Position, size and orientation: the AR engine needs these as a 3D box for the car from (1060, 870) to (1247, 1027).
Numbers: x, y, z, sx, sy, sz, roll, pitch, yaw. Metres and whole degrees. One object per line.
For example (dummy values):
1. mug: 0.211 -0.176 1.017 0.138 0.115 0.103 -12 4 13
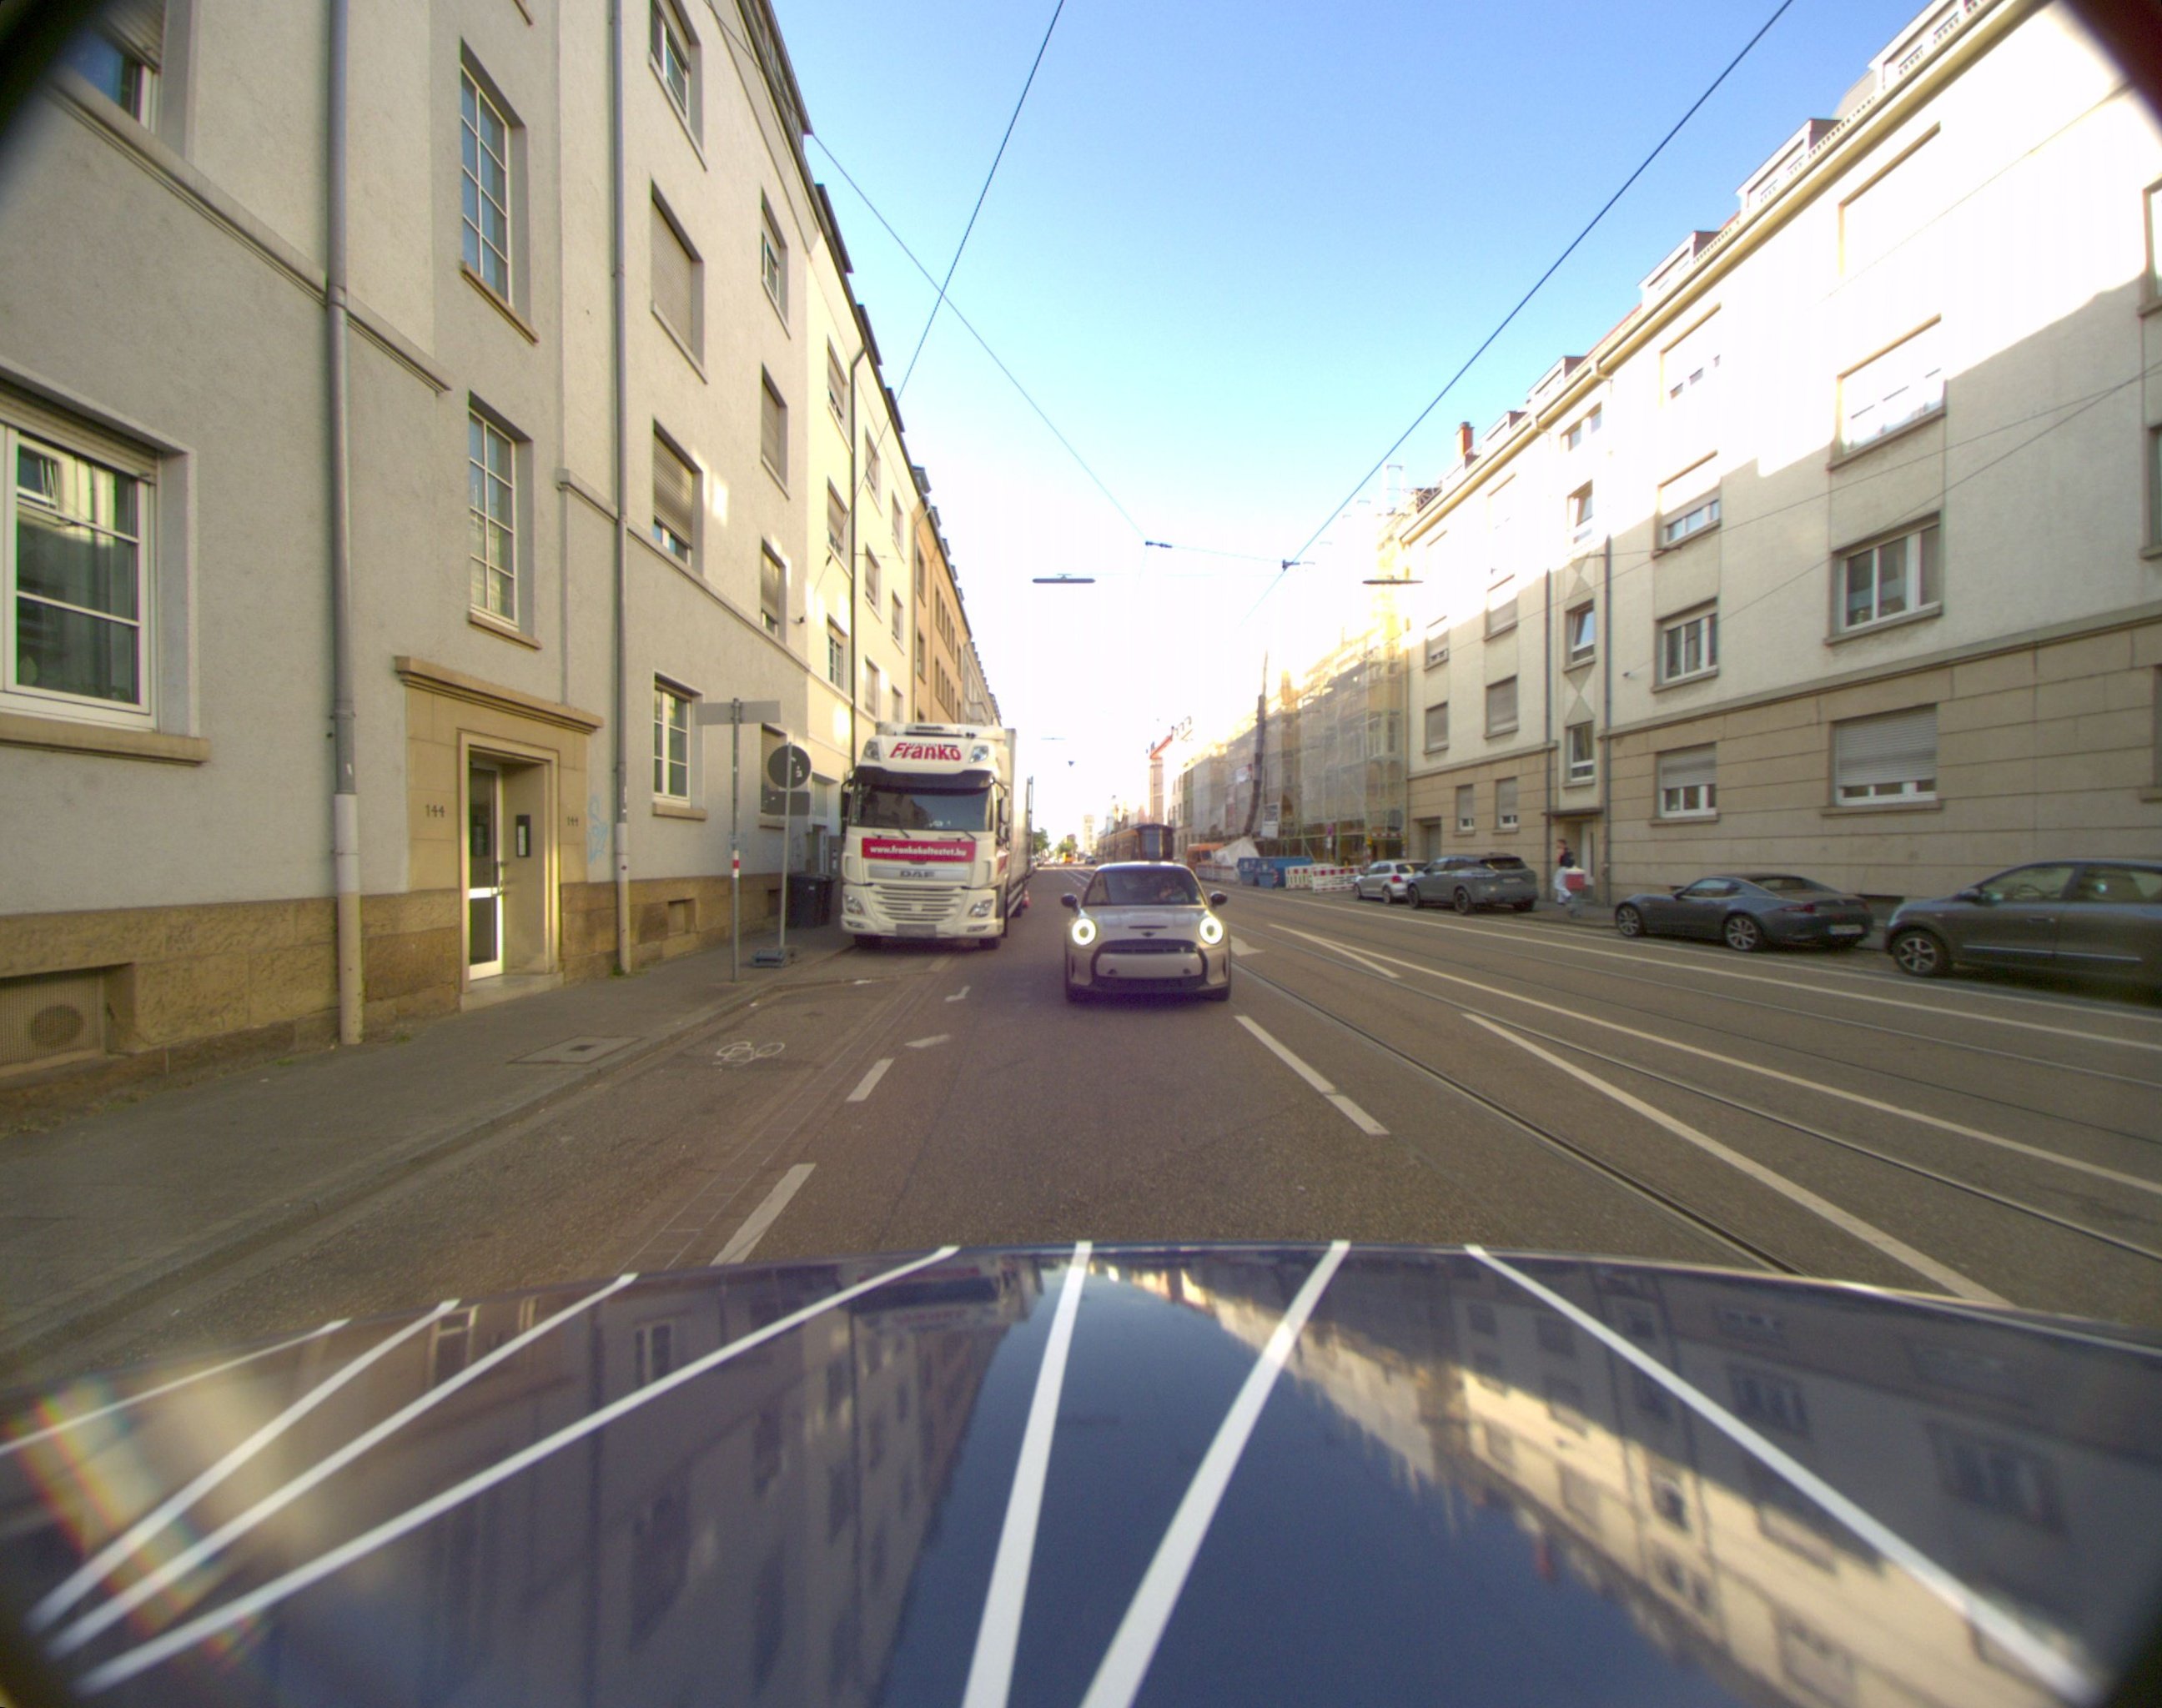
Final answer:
1. car: 0.668 0.919 8.986 1.727 1.416 3.817 0 -1 0

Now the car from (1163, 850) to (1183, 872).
1. car: 8.548 0.631 71.091 1.658 1.911 3.766 -2 1 5

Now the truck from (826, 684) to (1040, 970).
1. truck: -2.500 -0.498 17.114 2.700 4.214 11.773 0 1 -1

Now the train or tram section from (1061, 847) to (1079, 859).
1. train or tram section: -3.565 -0.308 237.179 3.881 3.616 14.401 -2 1 -7

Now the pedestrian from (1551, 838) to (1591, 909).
1. pedestrian: 13.234 0.523 20.533 0.519 1.861 0.762 -2 1 -2

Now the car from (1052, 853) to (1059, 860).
1. car: -7.987 0.725 238.281 1.999 1.871 4.269 -2 1 -4

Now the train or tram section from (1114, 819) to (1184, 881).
1. train or tram section: 4.175 -0.304 50.103 2.867 3.542 13.038 0 1 -3

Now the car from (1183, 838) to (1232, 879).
1. car: 8.801 0.259 53.359 2.215 2.681 5.871 -2 1 -2

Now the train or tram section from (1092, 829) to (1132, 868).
1. train or tram section: 2.914 -0.553 76.611 2.867 3.542 13.330 0 1 -3

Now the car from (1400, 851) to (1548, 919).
1. car: 10.810 0.785 21.280 1.752 1.600 4.157 -3 1 -4

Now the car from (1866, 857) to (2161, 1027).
1. car: 11.359 0.874 8.350 1.644 1.549 3.594 -3 1 -2

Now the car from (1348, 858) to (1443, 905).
1. car: 10.593 0.883 25.862 1.565 1.372 3.506 -3 1 -4

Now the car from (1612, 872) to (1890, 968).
1. car: 11.122 1.011 12.966 1.476 1.212 3.522 -3 1 -4

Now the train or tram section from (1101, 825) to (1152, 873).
1. train or tram section: 3.549 -0.427 63.288 2.867 3.542 13.330 0 1 -3
